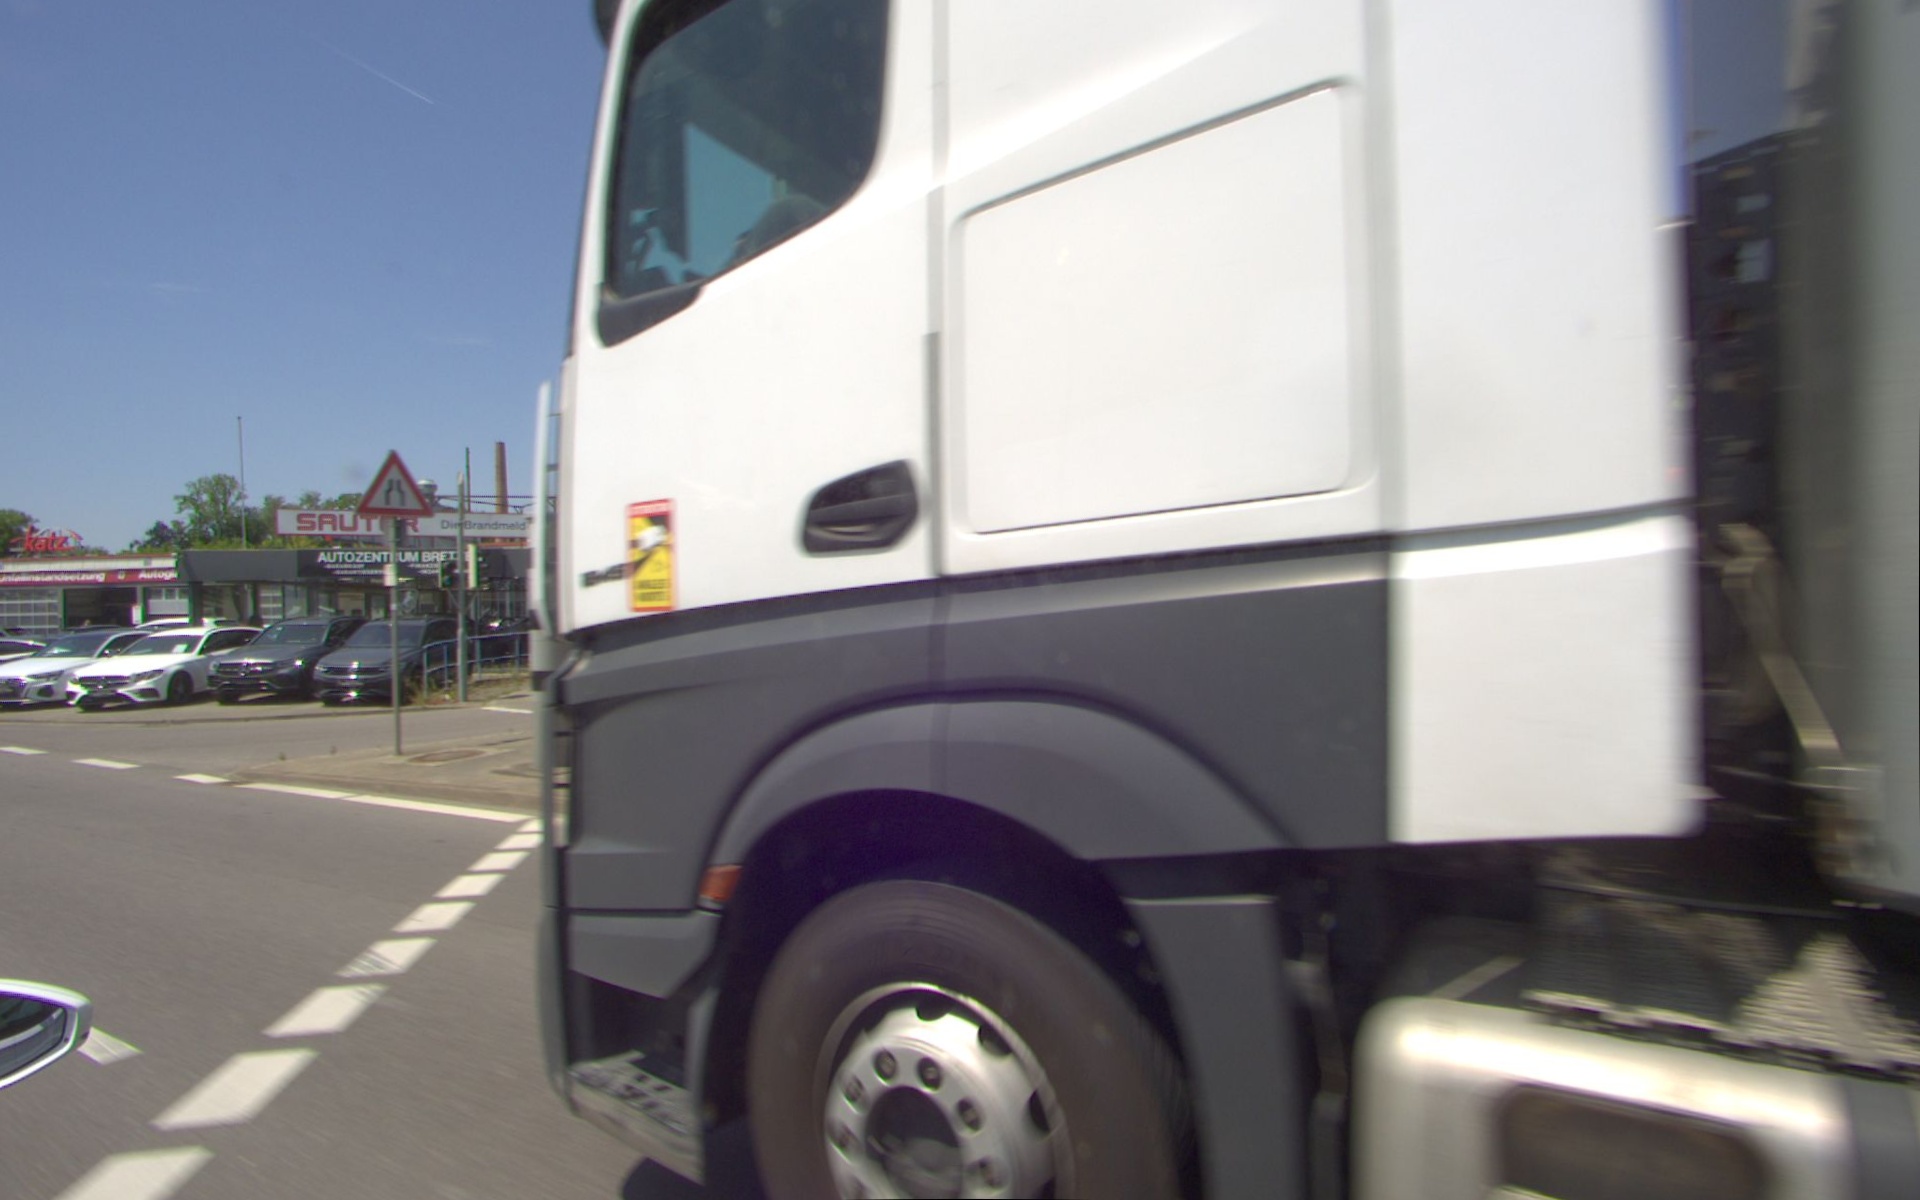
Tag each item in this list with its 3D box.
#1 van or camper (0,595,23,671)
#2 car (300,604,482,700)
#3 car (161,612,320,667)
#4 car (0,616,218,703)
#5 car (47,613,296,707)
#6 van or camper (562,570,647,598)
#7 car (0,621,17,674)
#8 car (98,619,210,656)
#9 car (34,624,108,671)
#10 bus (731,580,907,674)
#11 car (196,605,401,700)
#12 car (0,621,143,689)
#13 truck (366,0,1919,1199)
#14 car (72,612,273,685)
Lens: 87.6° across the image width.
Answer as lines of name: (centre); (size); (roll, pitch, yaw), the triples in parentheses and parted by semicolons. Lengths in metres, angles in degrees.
van or camper: (-39.052, 1.265, 37.605); (2.203, 2.943, 5.352); (-1, -1, 36)
car: (-12.144, 1.028, 21.723); (1.848, 1.715, 4.180); (-1, 2, -6)
car: (-23.926, 1.276, 33.435); (3.866, 1.504, 1.731); (-3, 1, -10)
car: (-19.296, 1.249, 22.526); (1.712, 1.429, 4.471); (-1, 3, 2)
car: (-16.900, 1.192, 21.851); (1.961, 1.574, 4.735); (-1, 2, -6)
van or camper: (-18.900, -0.853, 53.380); (3.922, 1.374, 1.858); (0, -2, -3)
car: (-31.197, 1.499, 29.713); (2.022, 1.646, 4.338); (-1, 0, 7)
car: (-40.596, 1.865, 50.545); (1.823, 1.595, 3.989); (-1, 2, 20)
car: (-32.078, 1.656, 36.100); (1.797, 1.548, 4.339); (-2, 0, -44)
bus: (-3.026, 0.536, 22.633); (1.910, 1.673, 4.490); (-3, 2, 21)
car: (-14.353, 1.050, 22.063); (1.848, 1.715, 4.172); (-1, 2, -3)
car: (-22.831, 1.367, 23.829); (4.842, 1.405, 1.926); (-3, 1, -10)
truck: (1.924, -0.555, 2.160); (6.237, 4.064, 2.966); (-1, 1, 32)
car: (-22.686, 1.368, 29.016); (4.070, 1.737, 1.852); (-3, 1, -10)
